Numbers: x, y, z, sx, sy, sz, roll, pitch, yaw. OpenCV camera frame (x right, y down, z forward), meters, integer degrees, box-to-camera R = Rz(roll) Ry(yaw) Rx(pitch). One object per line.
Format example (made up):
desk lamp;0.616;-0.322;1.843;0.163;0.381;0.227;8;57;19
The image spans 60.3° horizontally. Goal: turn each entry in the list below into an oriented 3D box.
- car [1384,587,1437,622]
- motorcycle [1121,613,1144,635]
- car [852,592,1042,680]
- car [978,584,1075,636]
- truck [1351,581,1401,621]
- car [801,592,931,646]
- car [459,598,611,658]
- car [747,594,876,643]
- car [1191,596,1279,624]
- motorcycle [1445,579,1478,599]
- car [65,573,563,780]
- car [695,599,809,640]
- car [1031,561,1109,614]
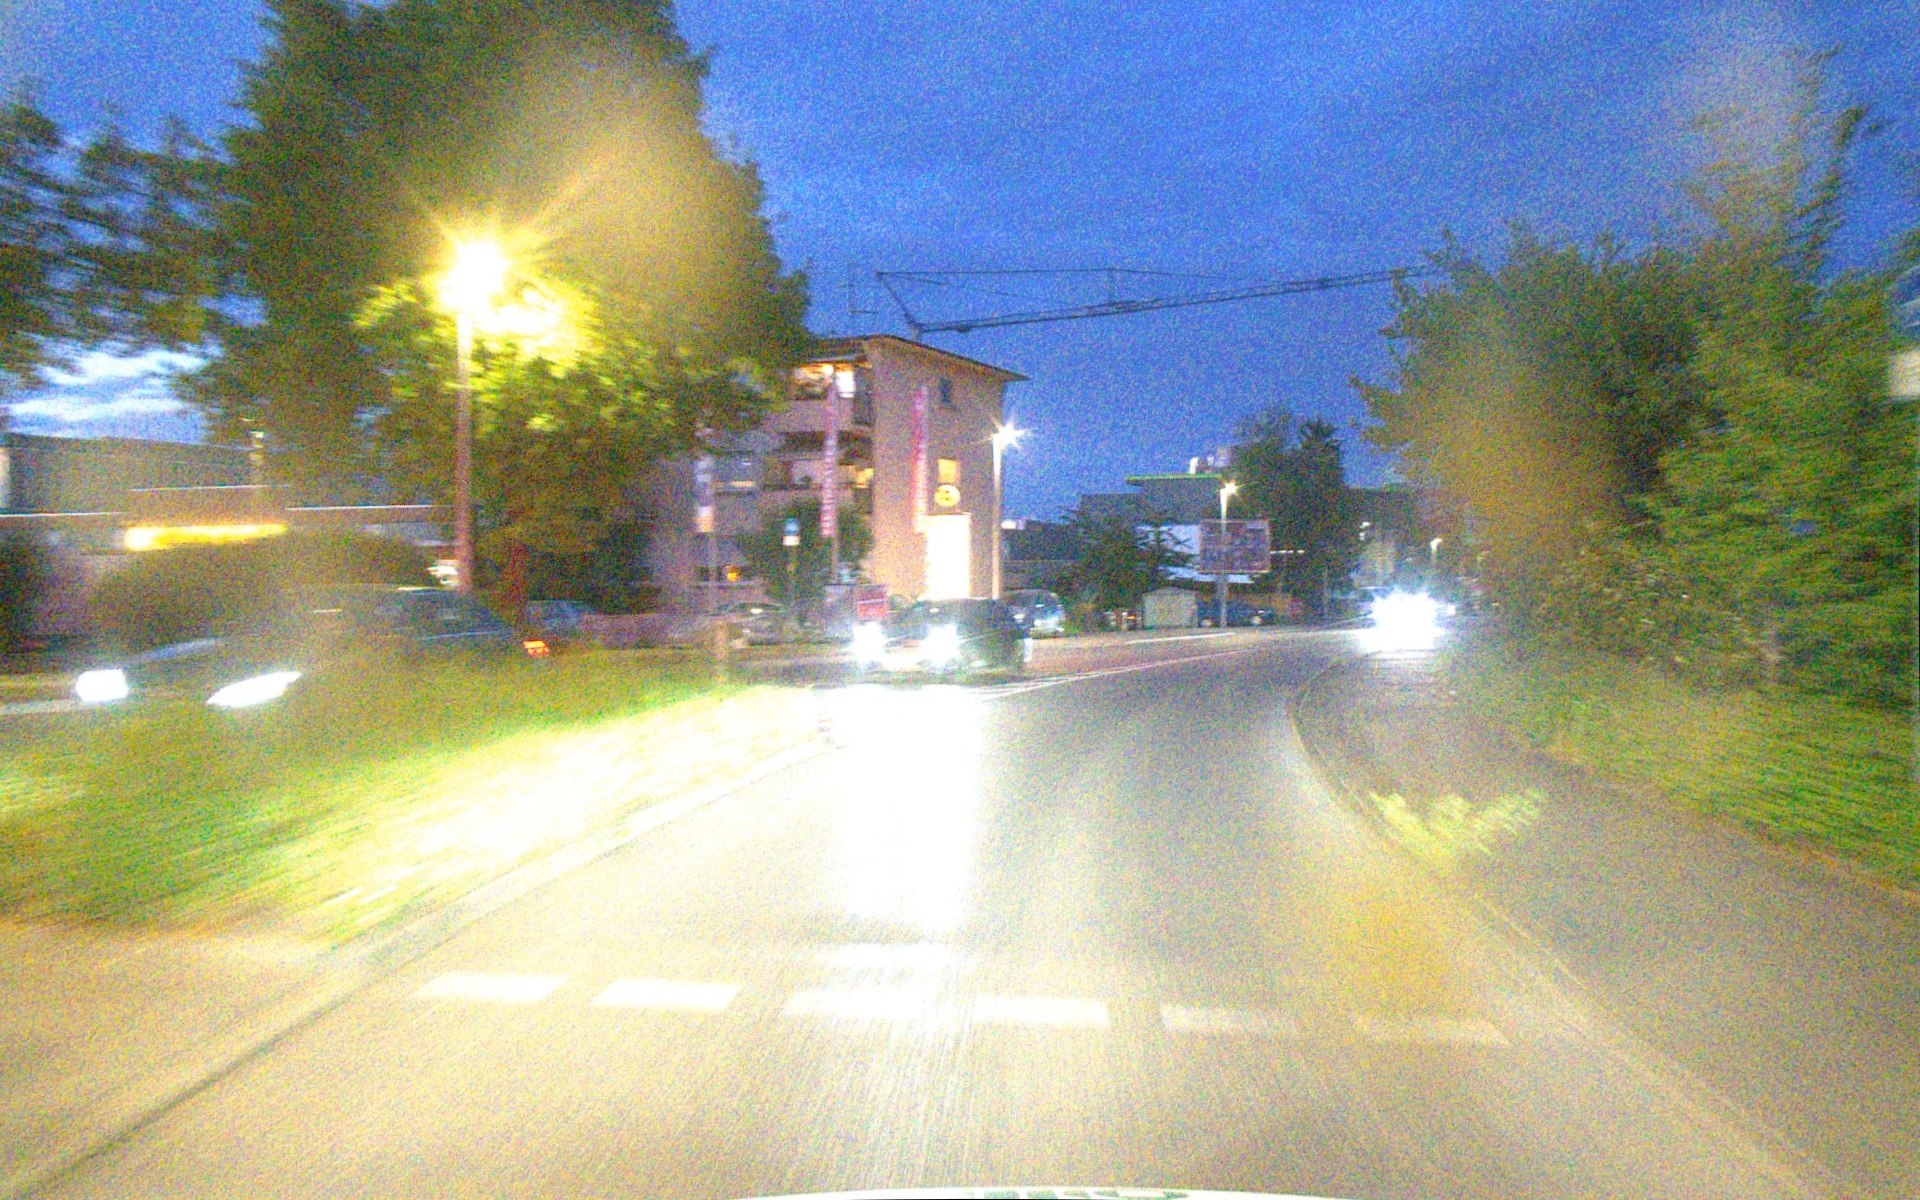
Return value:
car;22.525;0.199;82.674;1.721;1.635;4.448;-2;0;26
motorcycle;9.129;1.258;87.309;0.964;1.164;1.850;0;0;13
car;-0.130;0.600;29.335;1.723;1.428;4.586;-1;0;22
car;2.236;0.301;54.693;1.720;1.635;4.450;1;0;23
truck;23.821;0.077;94.539;2.202;2.167;5.981;-2;-1;20
car;-2.584;0.506;46.054;1.521;1.445;3.679;0;0;41
car;-10.800;0.717;42.075;3.429;1.383;1.497;-2;-2;16
car;-4.227;0.494;47.368;1.522;1.334;3.678;0;0;41
car;14.180;0.501;85.320;4.258;1.383;1.643;-1;-1;21
motorcycle;51.444;-1.136;169.615;3.961;2.048;1.304;-1;3;-39
car;-5.262;0.561;14.249;1.722;1.471;4.531;0;0;13
car;-6.134;0.546;48.945;1.521;1.151;3.196;0;0;40
car;4.656;-0.562;69.292;1.954;2.048;3.999;2;2;24
